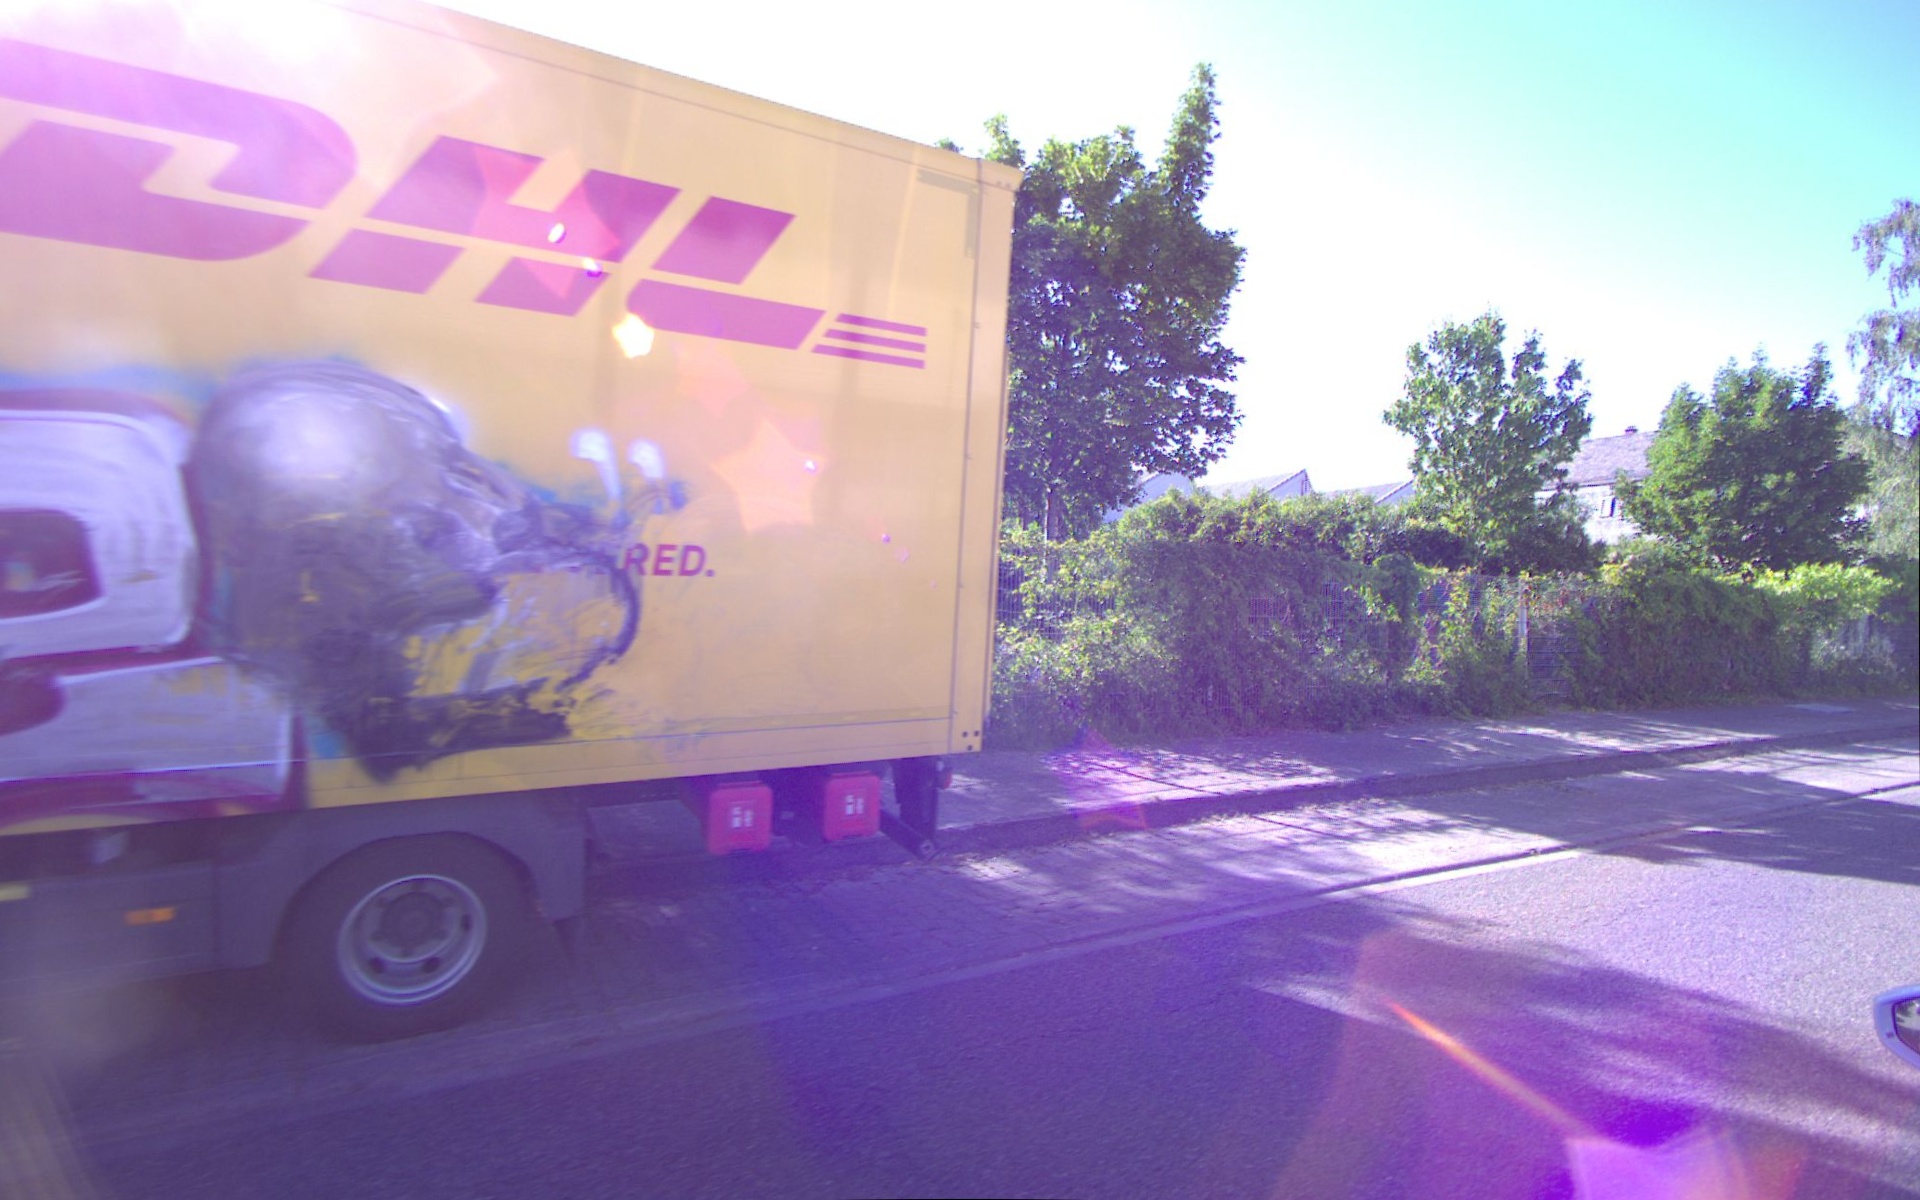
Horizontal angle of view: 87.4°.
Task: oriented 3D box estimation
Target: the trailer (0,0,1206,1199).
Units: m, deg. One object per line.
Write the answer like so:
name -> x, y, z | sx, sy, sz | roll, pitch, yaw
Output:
trailer -> -3.033, -0.100, 3.977 | 8.069, 3.489, 2.975 | 1, 0, -32
